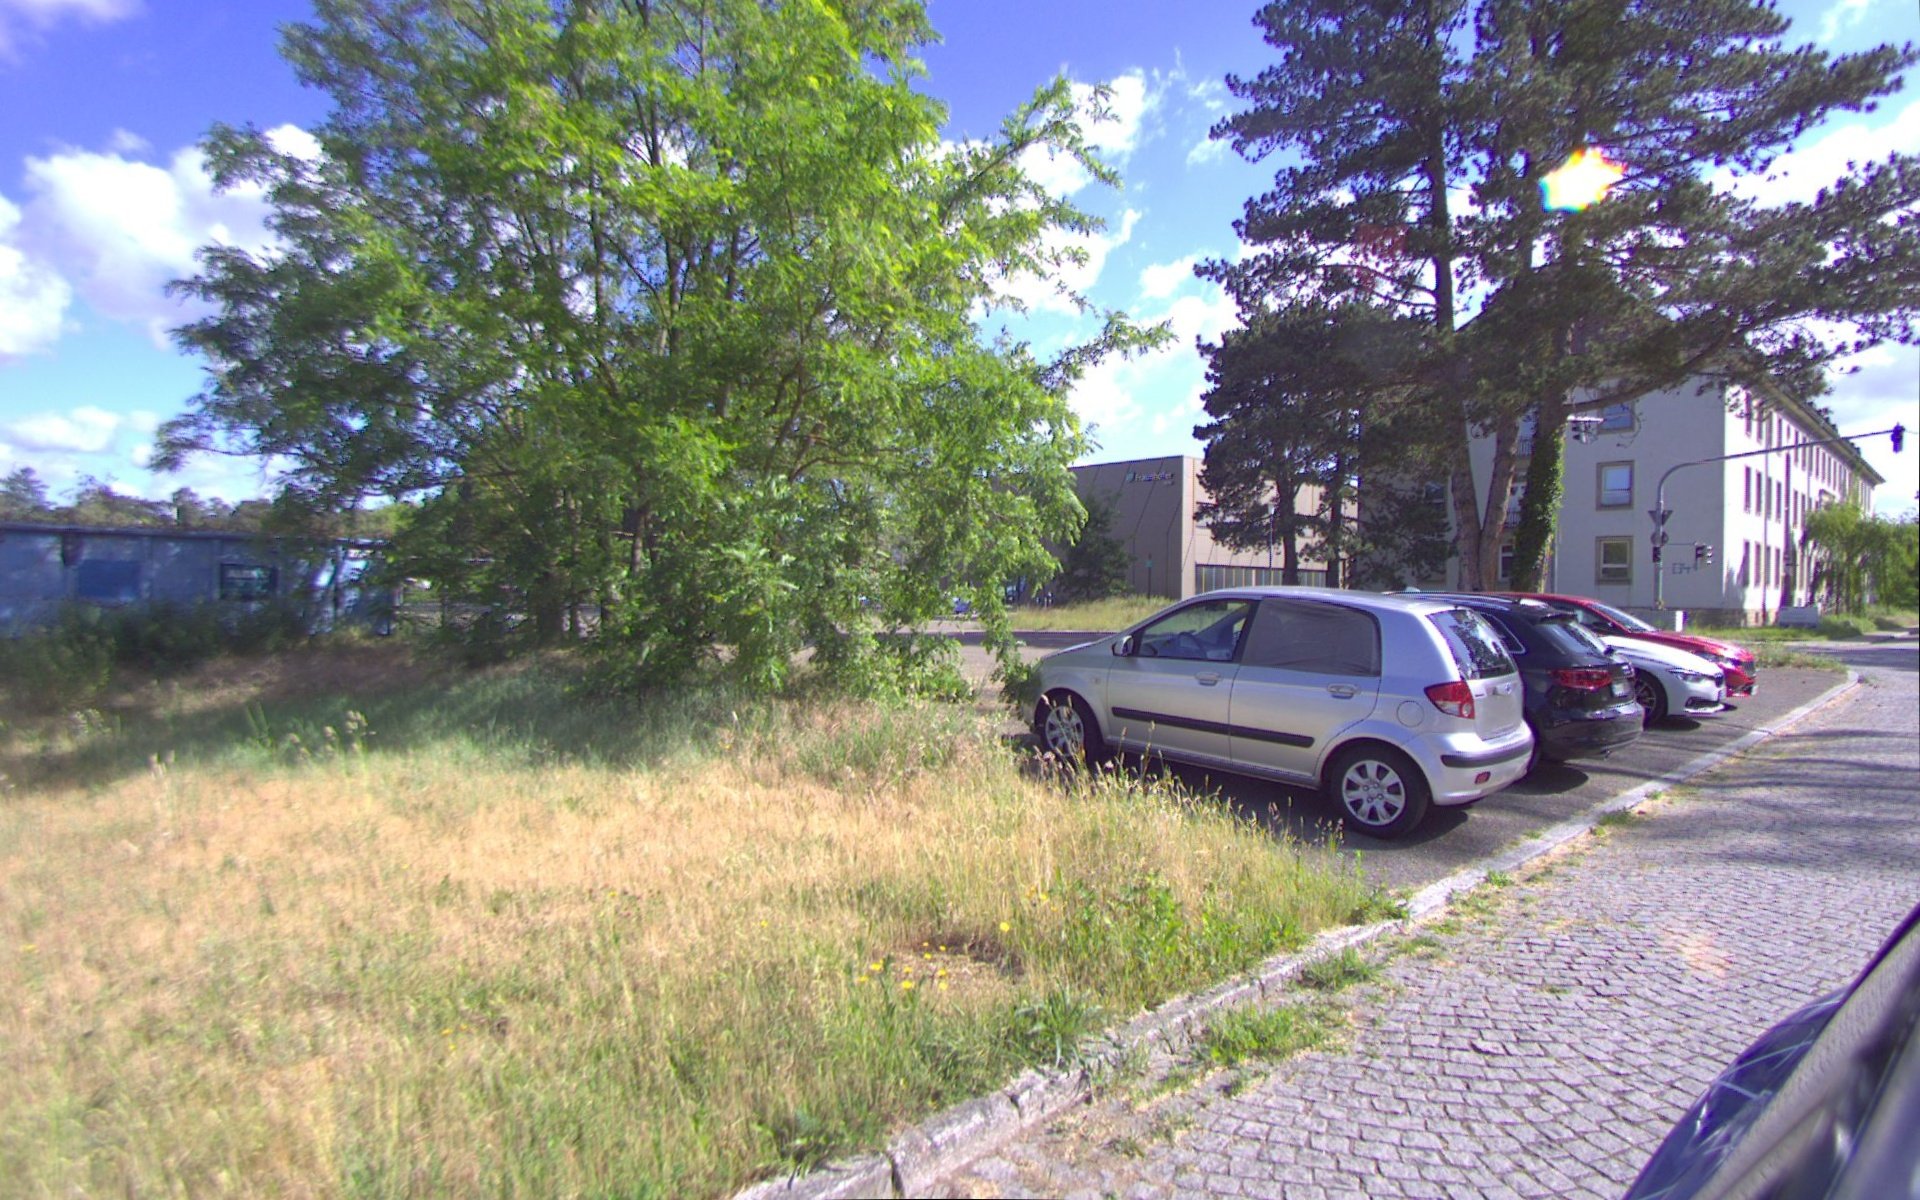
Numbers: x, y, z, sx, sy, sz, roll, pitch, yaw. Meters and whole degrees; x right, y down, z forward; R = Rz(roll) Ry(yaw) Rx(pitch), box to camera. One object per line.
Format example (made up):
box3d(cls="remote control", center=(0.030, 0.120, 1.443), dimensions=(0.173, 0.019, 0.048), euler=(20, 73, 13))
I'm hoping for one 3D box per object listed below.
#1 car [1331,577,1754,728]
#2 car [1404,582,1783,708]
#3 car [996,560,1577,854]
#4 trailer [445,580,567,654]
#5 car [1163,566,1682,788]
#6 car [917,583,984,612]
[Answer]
box3d(cls="car", center=(7.526, 0.538, 13.434), dimensions=(1.809, 1.482, 4.516), euler=(-1, 4, -45))
box3d(cls="car", center=(9.457, 0.547, 15.421), dimensions=(1.863, 1.438, 4.543), euler=(0, 4, -43))
box3d(cls="car", center=(2.228, 0.543, 7.602), dimensions=(1.723, 1.494, 3.745), euler=(0, 4, -44))
box3d(cls="trailer", center=(-7.510, 0.259, 16.676), dimensions=(2.399, 1.119, 1.019), euler=(0, 0, 44))
box3d(cls="car", center=(4.137, 0.520, 9.513), dimensions=(1.813, 1.458, 4.009), euler=(0, 4, -44))
box3d(cls="car", center=(-0.598, -0.203, 64.130), dimensions=(3.991, 1.583, 1.859), euler=(-4, 3, -41))
